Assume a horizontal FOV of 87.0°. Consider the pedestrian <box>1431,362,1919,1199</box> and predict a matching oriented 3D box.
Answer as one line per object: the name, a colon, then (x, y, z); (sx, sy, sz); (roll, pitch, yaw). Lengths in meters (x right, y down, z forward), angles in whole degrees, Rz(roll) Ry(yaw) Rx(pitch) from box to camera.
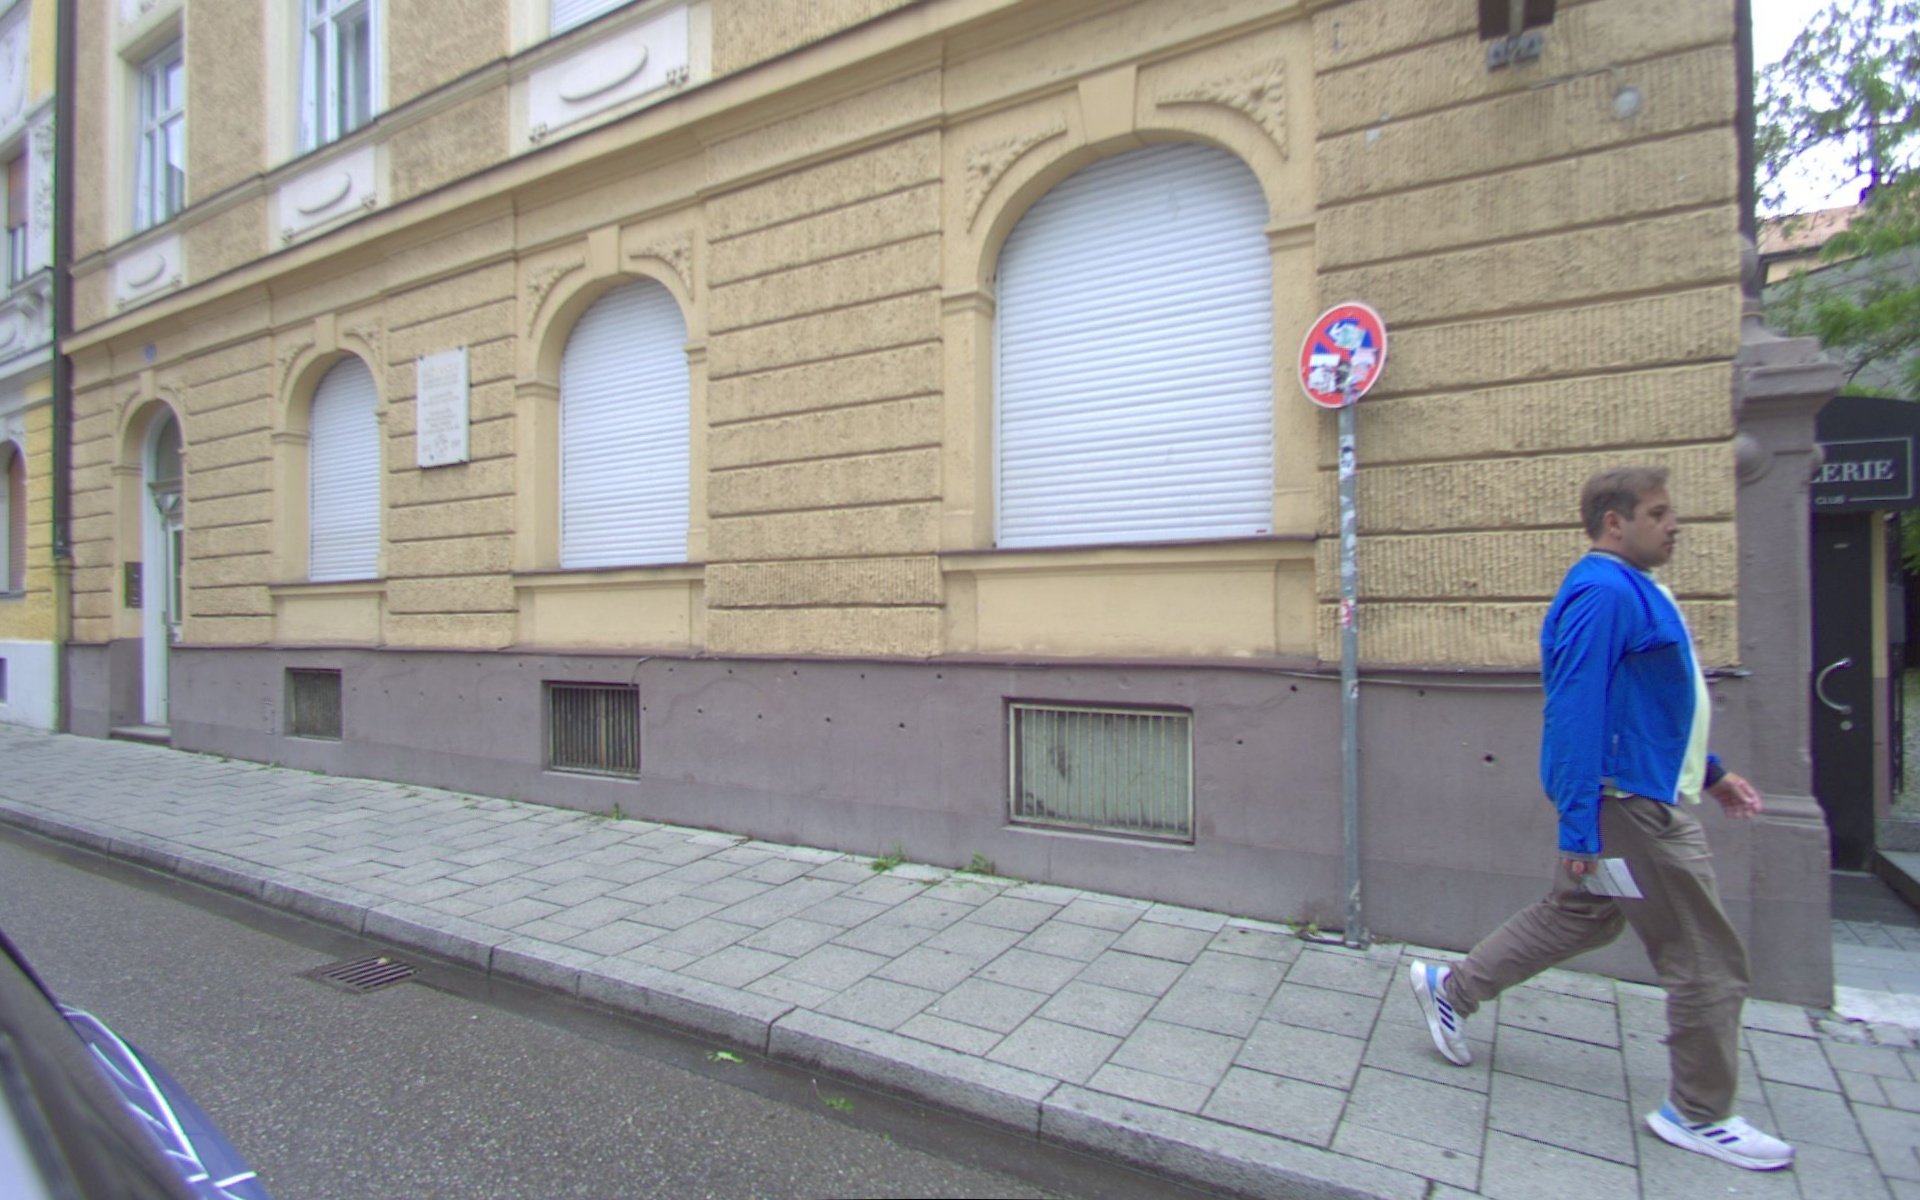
pedestrian: (1.911, 0.424, 2.716); (1.073, 1.868, 0.751); (-1, 0, 31)
